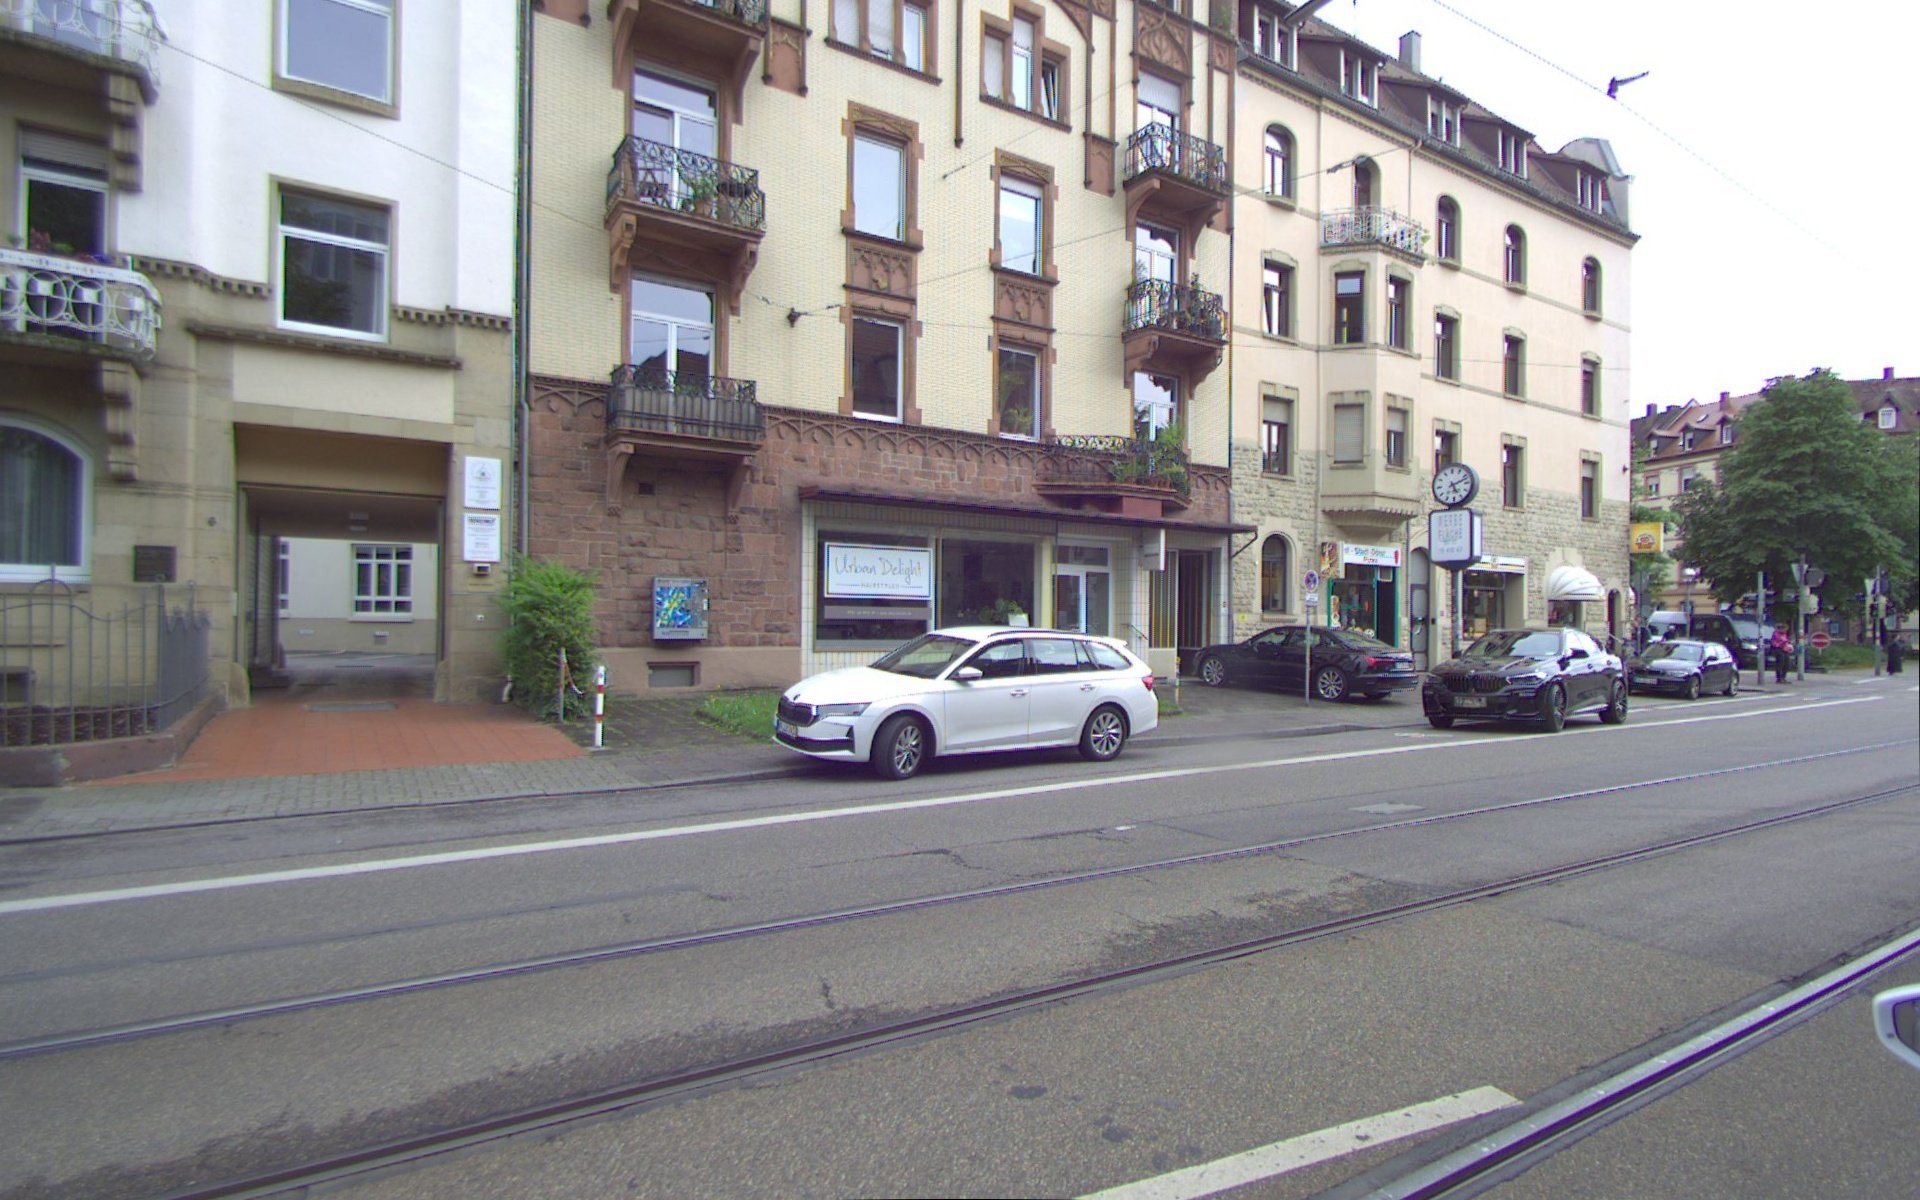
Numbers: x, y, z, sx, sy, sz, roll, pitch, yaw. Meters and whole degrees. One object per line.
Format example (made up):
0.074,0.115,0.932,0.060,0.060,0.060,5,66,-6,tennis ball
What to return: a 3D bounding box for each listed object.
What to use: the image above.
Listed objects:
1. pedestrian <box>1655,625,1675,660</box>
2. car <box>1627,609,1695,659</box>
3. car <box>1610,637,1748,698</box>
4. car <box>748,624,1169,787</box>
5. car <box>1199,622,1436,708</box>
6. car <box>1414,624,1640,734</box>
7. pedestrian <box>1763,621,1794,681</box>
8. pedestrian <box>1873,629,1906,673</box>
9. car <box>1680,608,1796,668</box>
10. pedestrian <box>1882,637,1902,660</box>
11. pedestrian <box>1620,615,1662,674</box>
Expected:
34.847,2.087,49.668,0.686,1.738,0.552,0,-1,18,pedestrian
37.713,1.806,54.170,2.145,2.560,5.375,0,-1,26,car
18.848,1.724,26.284,4.088,1.380,1.638,2,1,-35,car
0.098,1.048,11.327,4.560,1.504,1.737,1,-2,-34,car
7.393,1.276,21.163,1.863,1.388,4.394,1,1,-36,car
9.862,1.297,17.306,4.850,1.632,1.867,2,-4,-41,car
25.697,1.593,31.524,0.603,1.867,0.619,1,-1,-34,pedestrian
36.193,1.964,39.117,0.584,1.685,0.832,1,-1,-30,pedestrian
34.105,1.621,44.236,2.142,2.449,5.383,0,-1,15,car
47.767,2.486,51.485,0.579,1.184,0.844,0,-1,29,pedestrian
23.722,1.542,35.009,0.826,2.040,0.968,1,-2,-32,pedestrian
